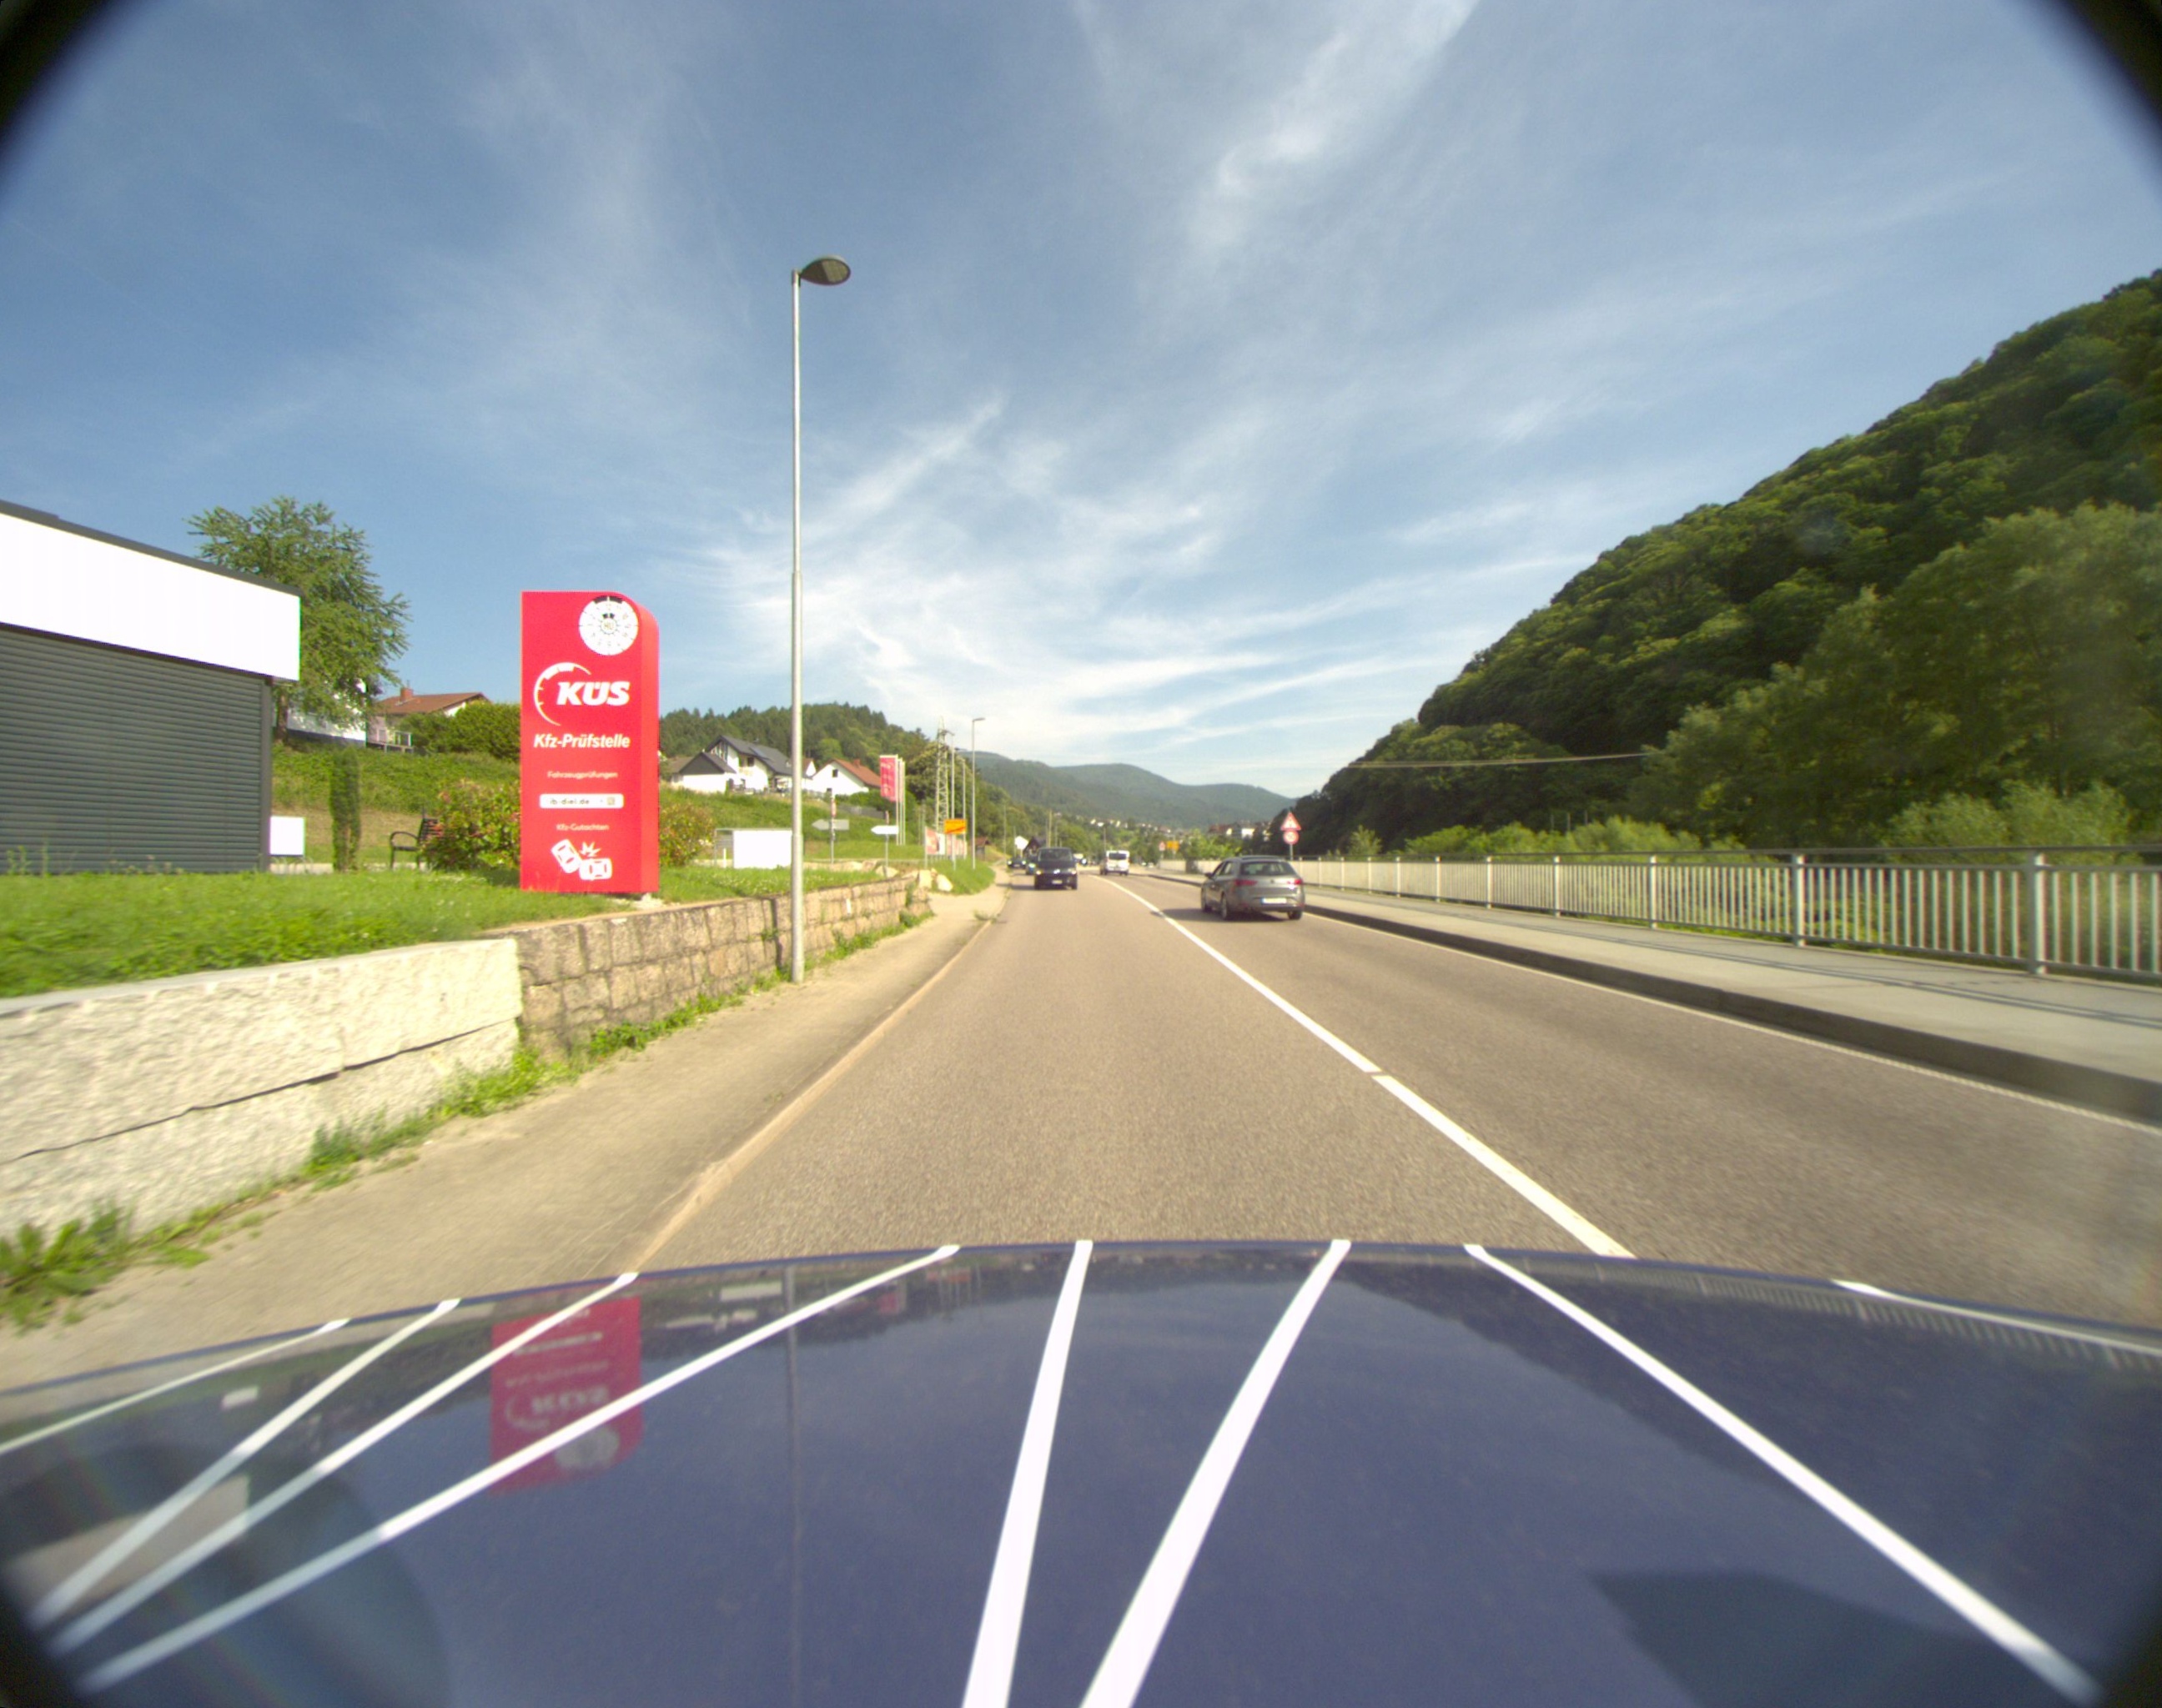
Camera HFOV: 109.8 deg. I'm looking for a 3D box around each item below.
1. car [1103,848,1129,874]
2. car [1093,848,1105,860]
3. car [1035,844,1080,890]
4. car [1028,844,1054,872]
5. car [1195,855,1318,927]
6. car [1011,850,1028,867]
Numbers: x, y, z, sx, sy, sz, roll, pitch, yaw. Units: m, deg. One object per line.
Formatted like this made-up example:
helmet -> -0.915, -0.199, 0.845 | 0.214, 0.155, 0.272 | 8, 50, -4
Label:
car -> 2.798, 0.522, 61.669 | 1.924, 1.956, 5.145 | 1, 1, 1
car -> 3.116, 0.044, 131.475 | 1.910, 2.001, 4.000 | -1, -1, 0
car -> -1.158, 0.562, 35.397 | 1.866, 1.936, 4.636 | 1, 0, -4
car -> -2.980, 0.340, 57.235 | 1.613, 2.001, 3.823 | -1, -1, 2
car -> 3.985, 0.781, 18.132 | 1.818, 1.475, 4.798 | -1, 0, 0
car -> -6.144, 0.515, 75.991 | 1.614, 1.622, 3.821 | 0, -1, -5
